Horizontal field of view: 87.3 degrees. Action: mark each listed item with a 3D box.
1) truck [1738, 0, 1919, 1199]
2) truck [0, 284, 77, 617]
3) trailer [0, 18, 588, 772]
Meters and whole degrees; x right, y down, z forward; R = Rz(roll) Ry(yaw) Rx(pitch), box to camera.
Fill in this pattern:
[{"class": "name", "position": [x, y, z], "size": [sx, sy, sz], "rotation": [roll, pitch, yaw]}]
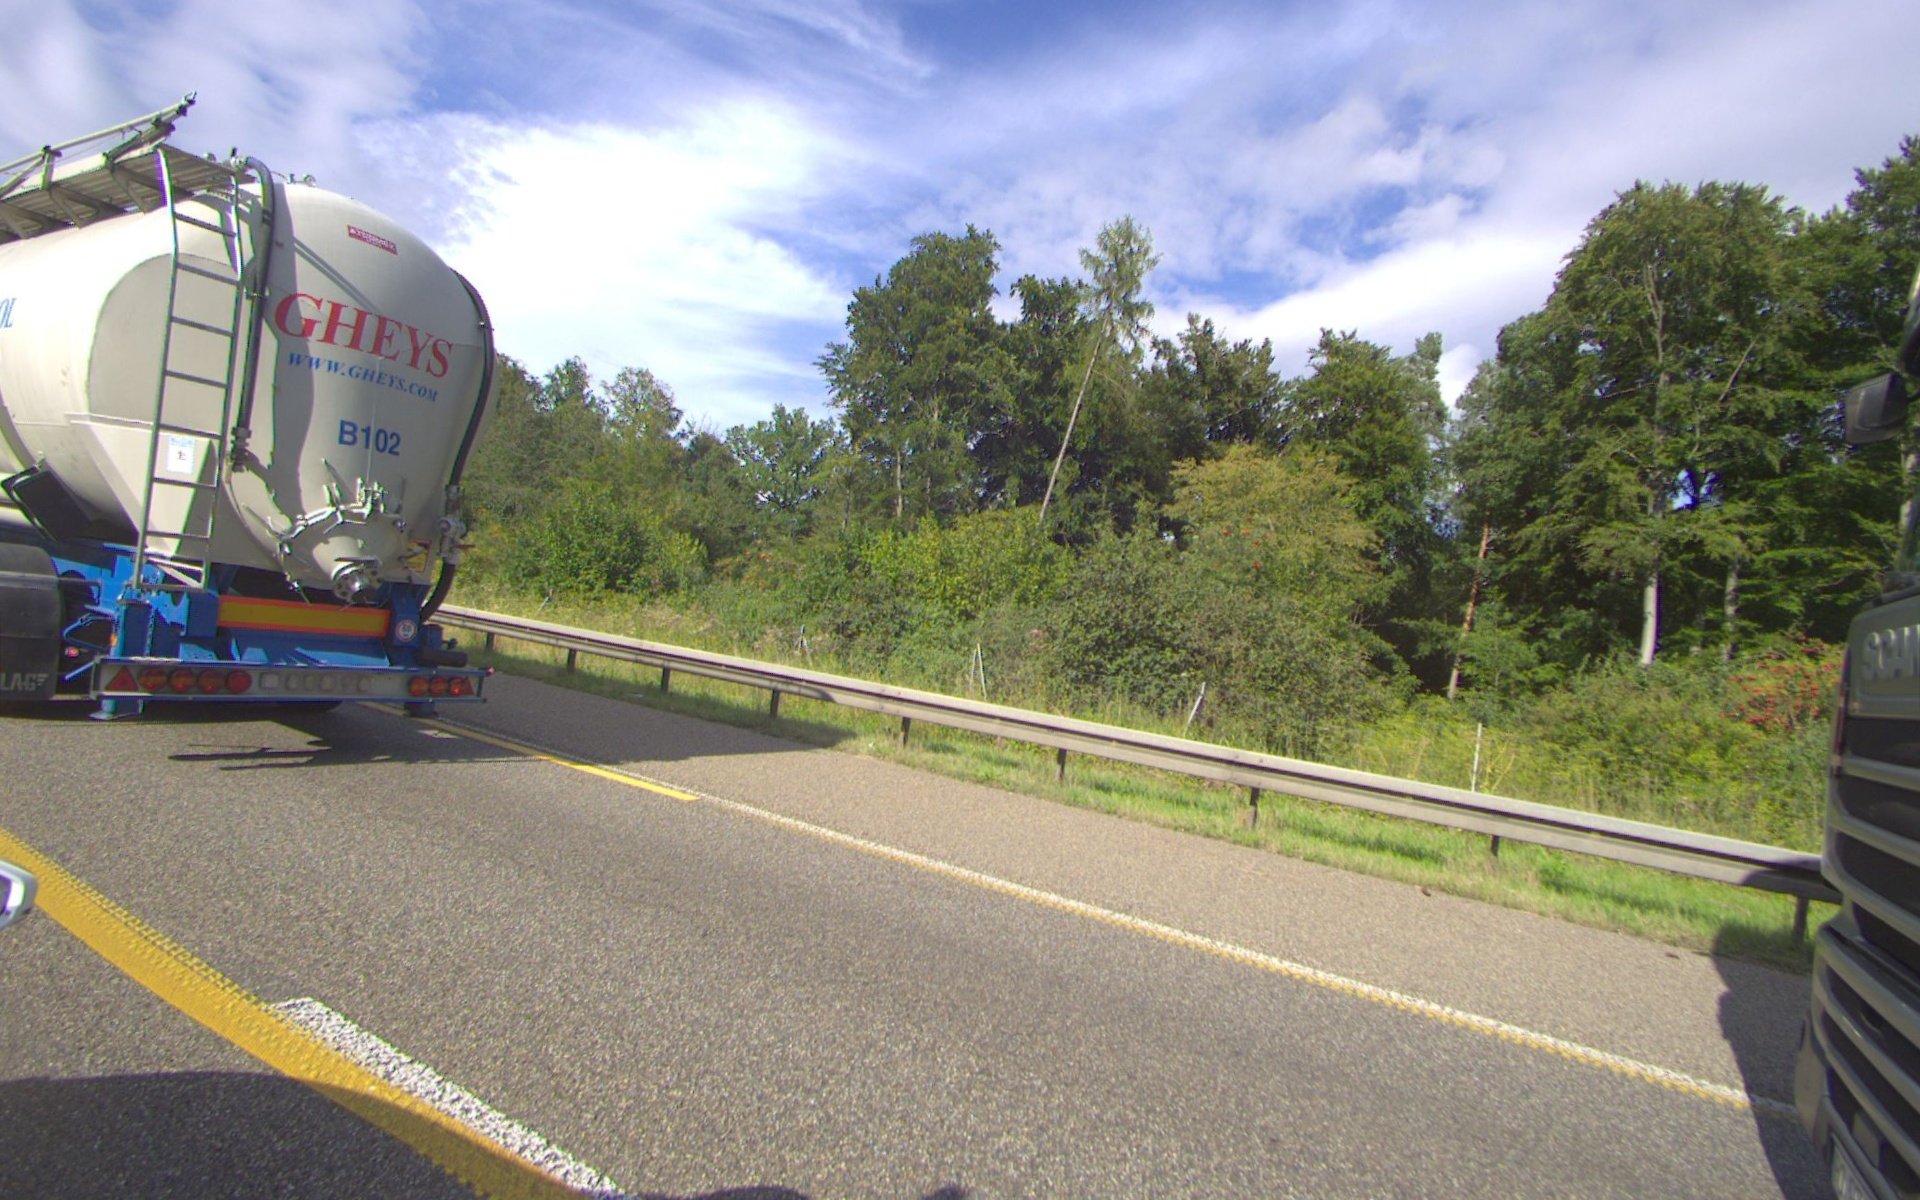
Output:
[{"class": "truck", "position": [4.830, 0.028, 1.100], "size": [5.615, 4.006, 2.673], "rotation": [7, -1, 31]}, {"class": "truck", "position": [-14.637, -2.173, 13.225], "size": [5.683, 4.018, 2.664], "rotation": [6, -2, 32]}, {"class": "trailer", "position": [-8.947, -1.544, 9.667], "size": [12.389, 3.989, 2.649], "rotation": [7, -1, 32]}]
